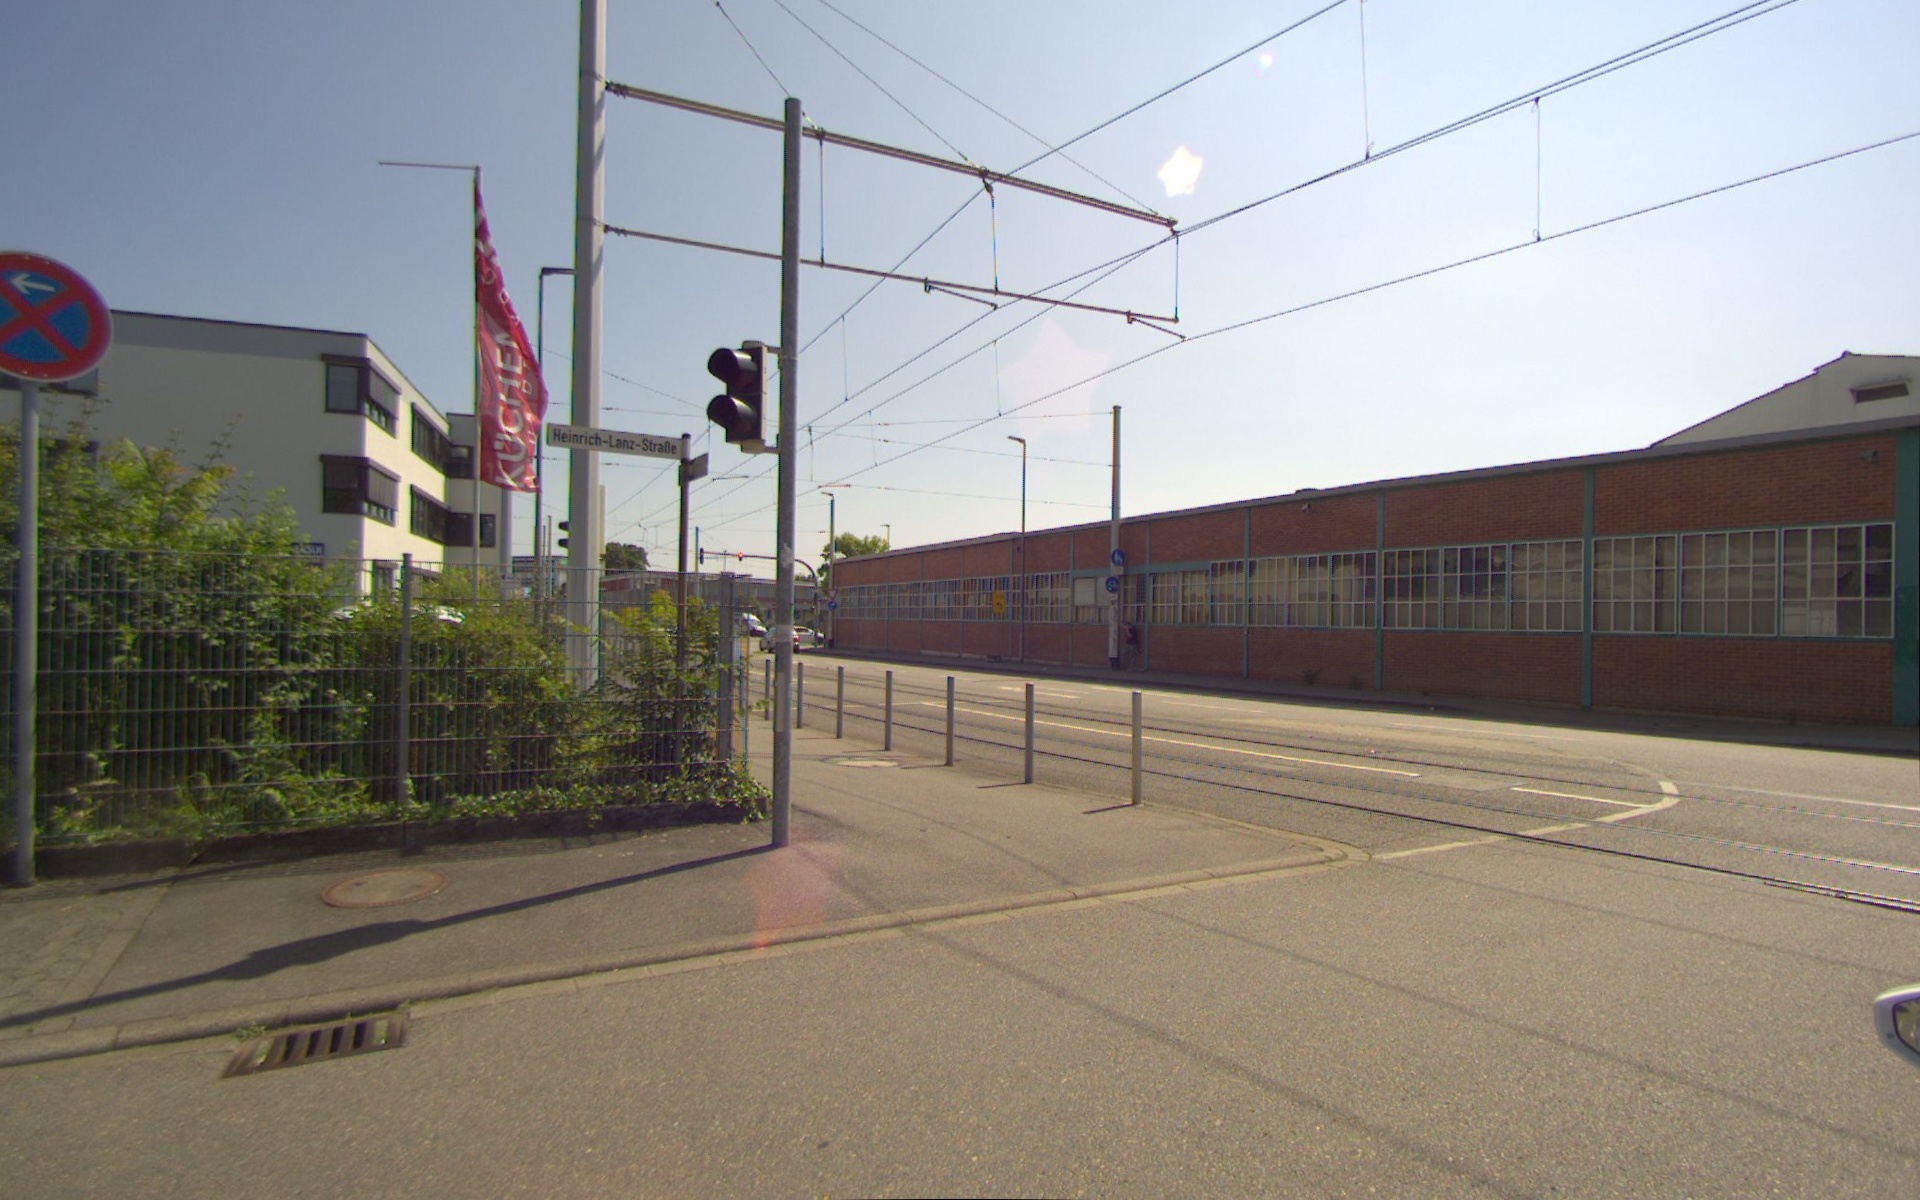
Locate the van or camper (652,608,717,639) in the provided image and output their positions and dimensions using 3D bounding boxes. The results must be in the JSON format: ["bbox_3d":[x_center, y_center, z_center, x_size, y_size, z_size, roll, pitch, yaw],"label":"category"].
[{"bbox_3d":[-30.311,2.565,110.534,6.851,2.970,2.353,2,1,23],"label":"van or camper"}]

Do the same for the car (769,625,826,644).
[{"bbox_3d":[-12.959,2.751,80.068,4.157,1.528,1.992,1,-1,-19],"label":"car"}]

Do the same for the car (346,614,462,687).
[{"bbox_3d":[-12.961,1.132,23.642,1.714,1.562,3.820,1,-2,-19],"label":"car"}]

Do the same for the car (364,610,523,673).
[{"bbox_3d":[-14.942,1.206,29.323,3.944,1.728,1.988,1,-1,-24],"label":"car"}]

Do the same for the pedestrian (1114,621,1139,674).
[{"bbox_3d":[5.774,1.643,34.899,0.676,1.788,0.447,2,1,-20],"label":"pedestrian"}]

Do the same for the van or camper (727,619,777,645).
[{"bbox_3d":[-23.520,3.582,113.561,5.288,2.473,2.286,4,1,29],"label":"van or camper"}]

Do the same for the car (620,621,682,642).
[{"bbox_3d":[-24.383,2.507,79.349,4.307,1.599,2.001,0,-1,17],"label":"car"}]

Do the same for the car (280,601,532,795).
[{"bbox_3d":[-5.131,0.825,9.692,1.690,1.452,3.931,2,-3,-25],"label":"car"}]

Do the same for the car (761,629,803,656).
[{"bbox_3d":[-10.566,2.491,59.359,1.726,1.478,3.980,0,-1,-21],"label":"car"}]

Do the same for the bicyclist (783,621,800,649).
[{"bbox_3d":[-10.746,2.229,64.017,0.777,1.744,1.141,2,-2,-22],"label":"bicyclist"}]
